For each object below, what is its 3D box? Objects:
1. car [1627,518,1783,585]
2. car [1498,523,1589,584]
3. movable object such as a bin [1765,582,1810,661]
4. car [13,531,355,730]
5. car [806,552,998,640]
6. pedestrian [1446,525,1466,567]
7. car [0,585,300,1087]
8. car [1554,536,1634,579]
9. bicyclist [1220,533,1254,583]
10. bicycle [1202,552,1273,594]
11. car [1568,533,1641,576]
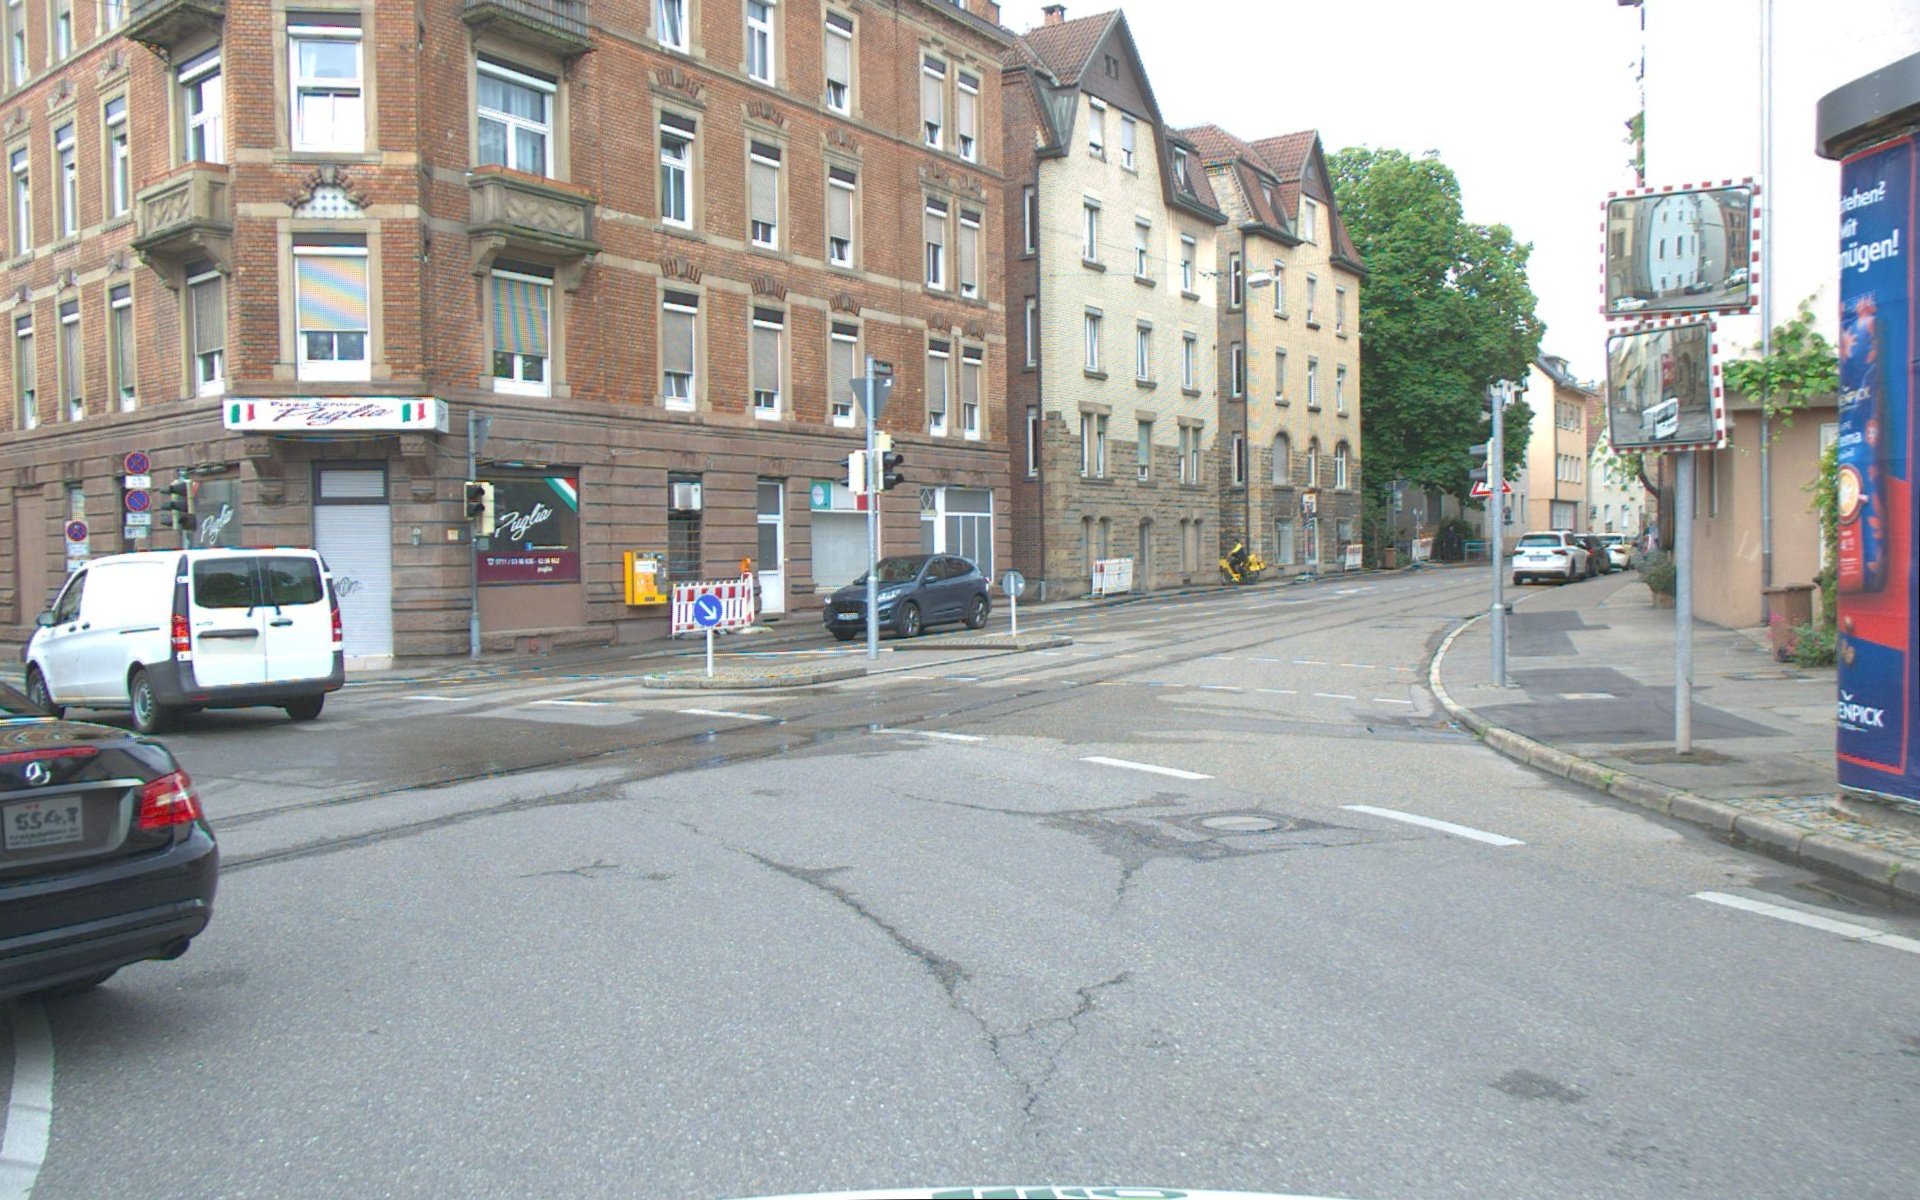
[{"bbox_3d":[21.163,-1.352,47.137,3.830,1.579,1.871,-4,-1,20],"label":"car"},{"bbox_3d":[18.532,-1.483,52.420,1.913,1.748,3.992,-3,0,31],"label":"car"},{"bbox_3d":[9.930,0.258,19.855,0.336,0.927,0.495,0,1,7],"label":"movable object such as a bin"},{"bbox_3d":[-8.820,0.339,18.612,4.563,1.962,1.886,-2,0,43],"label":"car"},{"bbox_3d":[-1.132,-0.113,34.364,1.956,1.541,4.278,-3,1,30],"label":"car"},{"bbox_3d":[24.405,-2.644,81.371,0.750,2.048,0.752,-2,1,29],"label":"pedestrian"},{"bbox_3d":[-4.619,0.758,5.896,4.298,1.434,1.766,-2,0,26],"label":"car"},{"bbox_3d":[21.814,-1.482,56.833,1.956,1.310,3.993,-4,0,30],"label":"car"},{"bbox_3d":[10.138,-1.525,60.594,0.771,1.732,0.941,-4,0,-19],"label":"bicyclist"},{"bbox_3d":[10.170,-0.983,60.614,2.554,1.329,0.629,-4,0,-21],"label":"bicycle"},{"bbox_3d":[24.192,-1.708,62.018,1.777,1.488,3.991,-3,0,32],"label":"car"}]
